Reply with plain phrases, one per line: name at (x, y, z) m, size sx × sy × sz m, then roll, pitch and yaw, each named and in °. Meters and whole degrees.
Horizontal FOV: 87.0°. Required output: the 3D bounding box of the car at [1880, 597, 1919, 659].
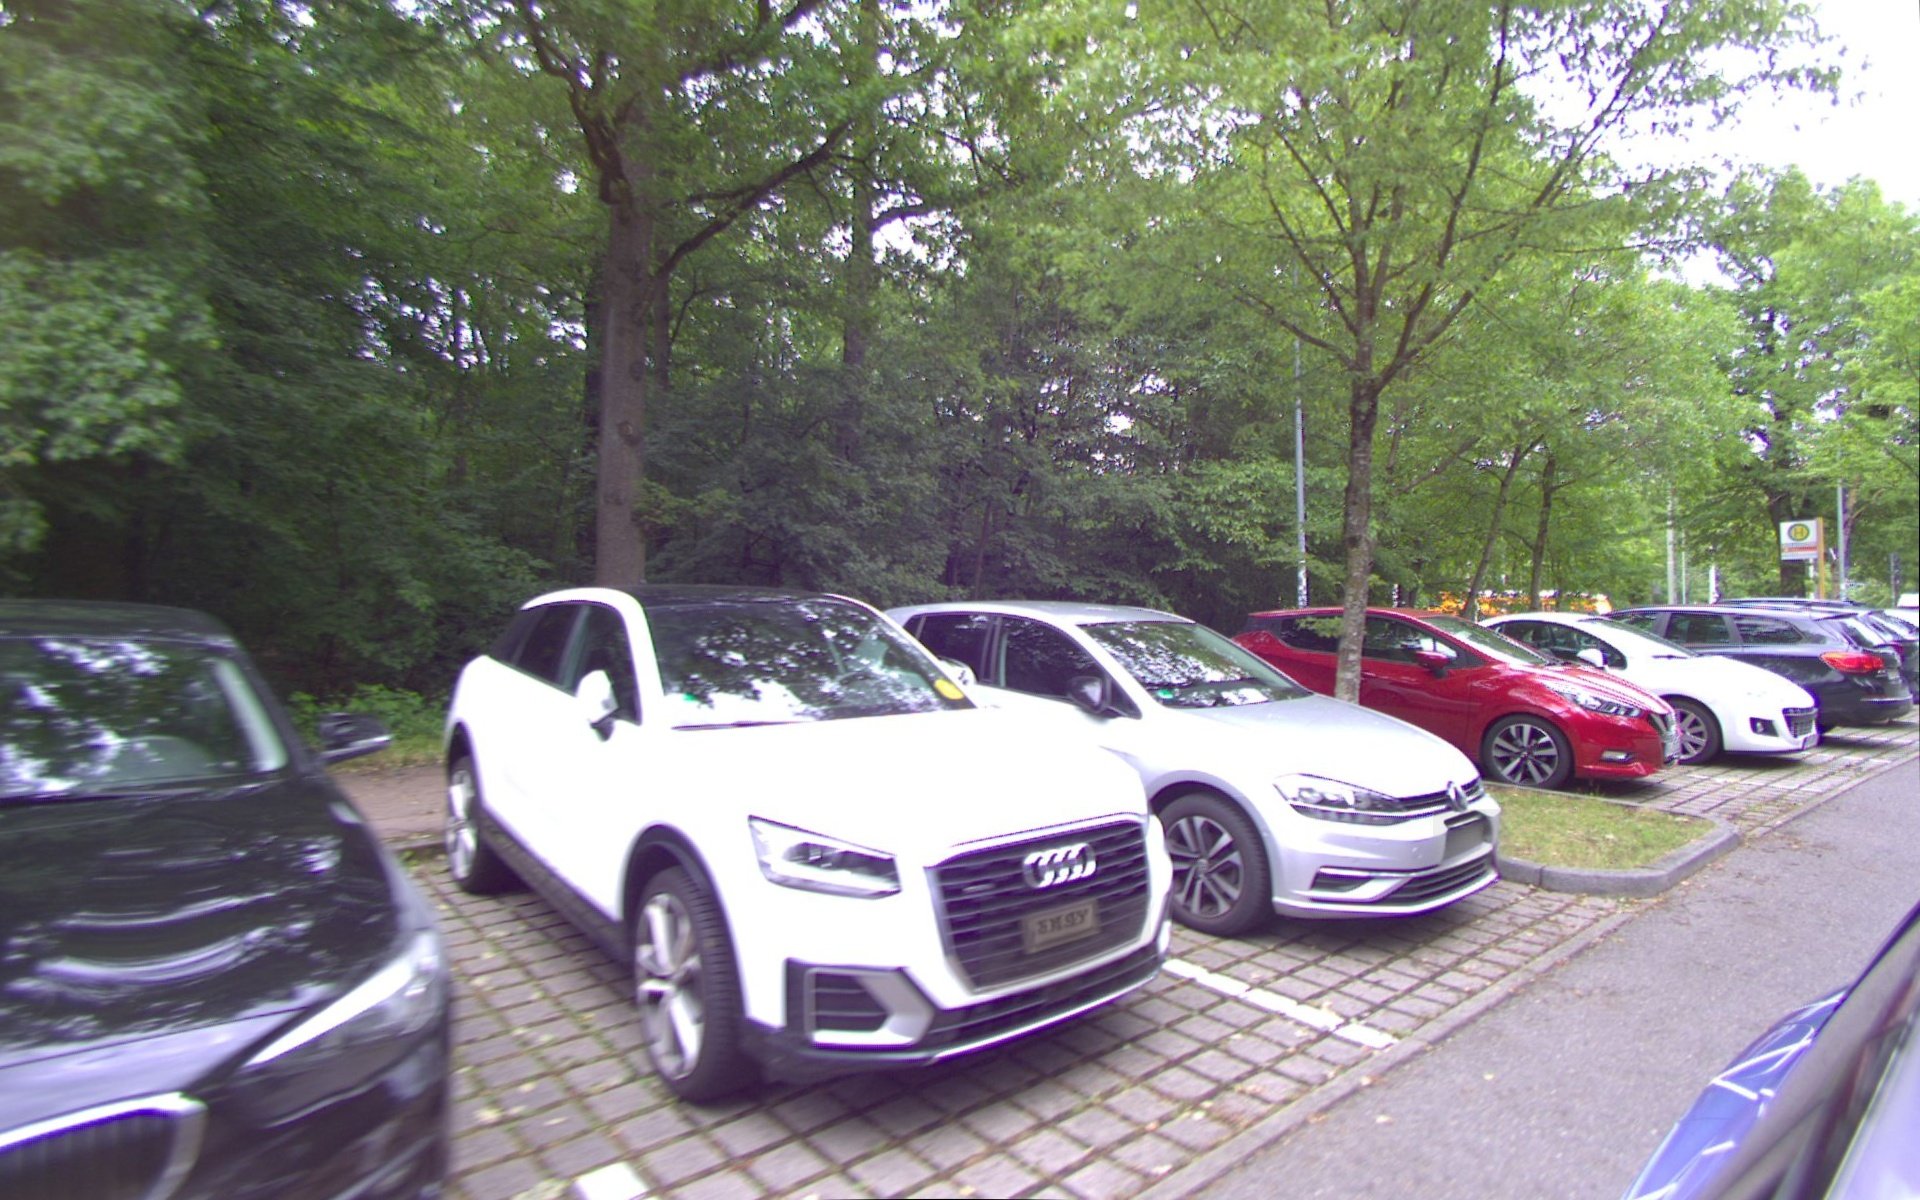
car at (24.843, 0.683, 23.899) m, size 1.881 × 1.499 × 4.246 m, roll 0°, pitch 0°, yaw -31°

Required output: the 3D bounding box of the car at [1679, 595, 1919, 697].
car at (14.527, 0.691, 16.940) m, size 1.718 × 1.530 × 3.714 m, roll 0°, pitch 0°, yaw -35°

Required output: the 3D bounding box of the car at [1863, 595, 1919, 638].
car at (42.046, 0.694, 43.418) m, size 1.958 × 1.773 × 4.586 m, roll 2°, pitch -3°, yaw -15°

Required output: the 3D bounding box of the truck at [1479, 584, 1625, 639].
truck at (40.352, 0.758, 69.272) m, size 2.812 × 3.559 × 8.251 m, roll 2°, pitch -1°, yaw -33°

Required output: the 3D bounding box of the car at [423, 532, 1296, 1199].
car at (-0.853, 0.646, 4.428) m, size 1.941 × 1.579 × 4.018 m, roll 1°, pitch -1°, yaw -38°

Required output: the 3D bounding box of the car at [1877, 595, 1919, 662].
car at (22.983, 0.654, 22.105) m, size 1.884 × 1.502 × 4.003 m, roll 0°, pitch 0°, yaw -31°

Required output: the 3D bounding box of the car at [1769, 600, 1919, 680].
car at (18.597, 0.758, 19.772) m, size 1.904 × 1.468 × 4.000 m, roll 0°, pitch 0°, yaw -35°

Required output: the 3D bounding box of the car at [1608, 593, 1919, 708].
car at (12.632, 0.680, 15.854) m, size 1.698 × 1.565 × 3.853 m, roll 0°, pitch 0°, yaw -37°

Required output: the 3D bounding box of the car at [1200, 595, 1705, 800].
car at (4.340, 0.702, 9.231) m, size 3.793 × 1.459 × 1.841 m, roll 0°, pitch -1°, yaw 43°

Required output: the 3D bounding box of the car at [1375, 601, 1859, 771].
car at (6.744, 0.750, 10.740) m, size 1.844 × 1.429 × 3.942 m, roll 1°, pitch -1°, yaw -38°

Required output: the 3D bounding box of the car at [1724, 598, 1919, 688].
car at (16.522, 0.722, 18.159) m, size 1.829 × 1.480 × 4.142 m, roll 0°, pitch 1°, yaw -33°

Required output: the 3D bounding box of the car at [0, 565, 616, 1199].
car at (-2.730, 0.709, 2.740) m, size 1.861 × 1.531 × 4.191 m, roll 1°, pitch -1°, yaw -43°

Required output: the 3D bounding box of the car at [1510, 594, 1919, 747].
car at (8.847, 0.698, 11.947) m, size 1.742 × 1.500 × 3.775 m, roll 1°, pitch -1°, yaw -40°

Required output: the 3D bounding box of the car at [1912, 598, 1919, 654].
car at (27.170, 0.718, 25.161) m, size 1.815 × 1.494 × 4.794 m, roll 1°, pitch 0°, yaw -28°

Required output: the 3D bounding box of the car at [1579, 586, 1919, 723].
car at (11.040, 0.654, 14.023) m, size 1.913 × 1.610 × 3.779 m, roll 1°, pitch -1°, yaw -36°

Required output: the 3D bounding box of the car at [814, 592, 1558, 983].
car at (1.036, 0.723, 6.003) m, size 1.852 × 1.503 × 3.981 m, roll 1°, pitch -1°, yaw -42°
